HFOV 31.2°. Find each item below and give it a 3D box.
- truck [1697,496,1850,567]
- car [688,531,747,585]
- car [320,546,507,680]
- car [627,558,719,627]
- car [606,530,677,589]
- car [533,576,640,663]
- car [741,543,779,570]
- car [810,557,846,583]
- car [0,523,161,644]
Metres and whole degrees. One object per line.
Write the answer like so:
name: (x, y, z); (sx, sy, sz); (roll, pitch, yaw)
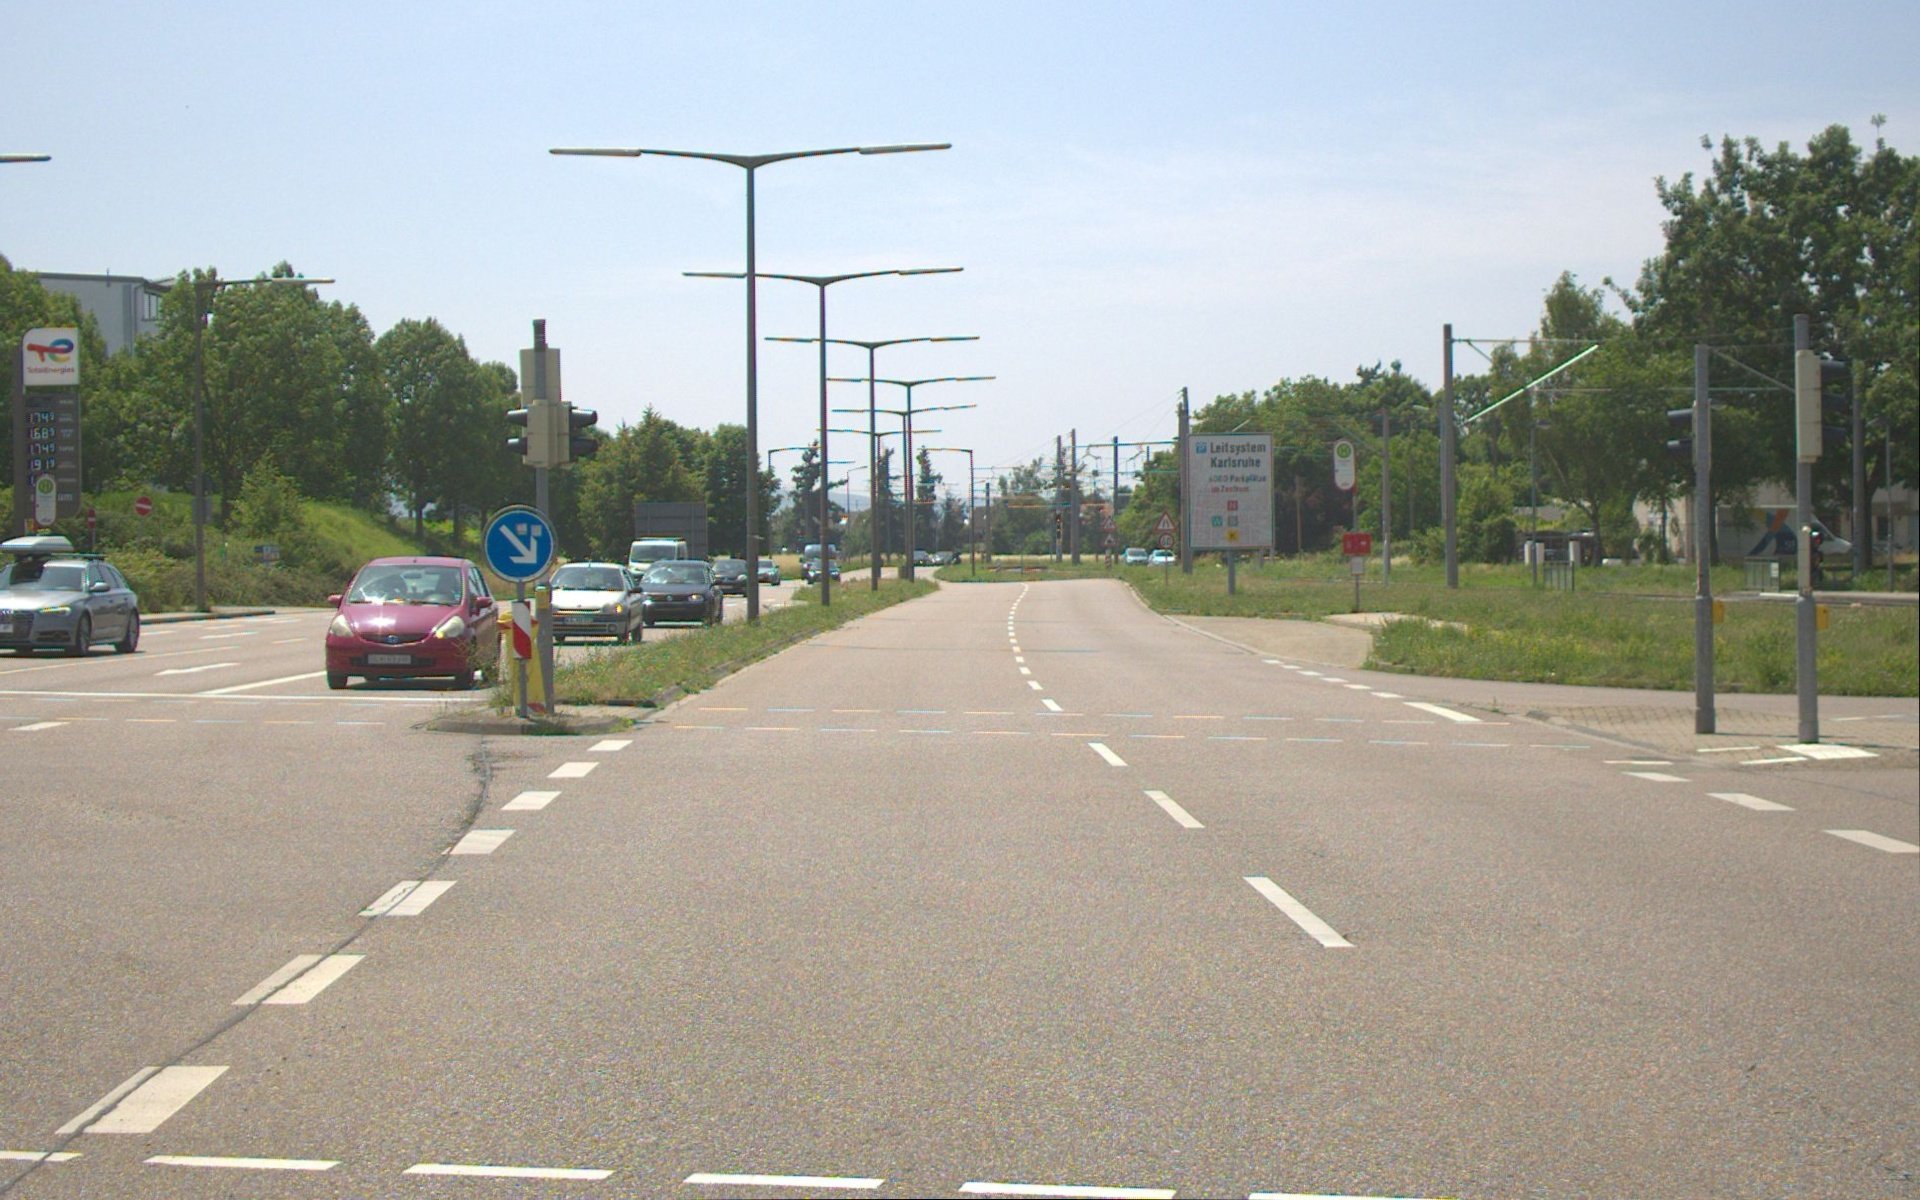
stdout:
truck: (34.858, -2.932, 147.374); (5.839, 2.833, 2.321); (-2, 0, -7)
car: (-9.315, -1.602, 132.280); (1.993, 2.007, 4.000); (1, 0, 0)
car: (-6.415, 0.115, 40.714); (1.658, 1.485, 4.000); (0, 1, -1)
car: (-6.163, -0.181, 74.179); (1.675, 1.429, 4.191); (0, 1, -1)
car: (-12.784, -1.626, 138.206); (2.249, 2.265, 5.449); (1, 1, 1)
car: (-6.568, 0.318, 60.679); (1.560, 1.418, 3.854); (0, 1, -1)
car: (-11.033, -2.409, 189.704); (1.831, 1.444, 4.852); (-1, 1, -1)
car: (-7.669, -1.734, 200.162); (1.731, 1.453, 4.564); (-1, 1, 2)
car: (-13.632, -0.282, 52.106); (1.964, 1.744, 5.022); (0, 1, -1)
